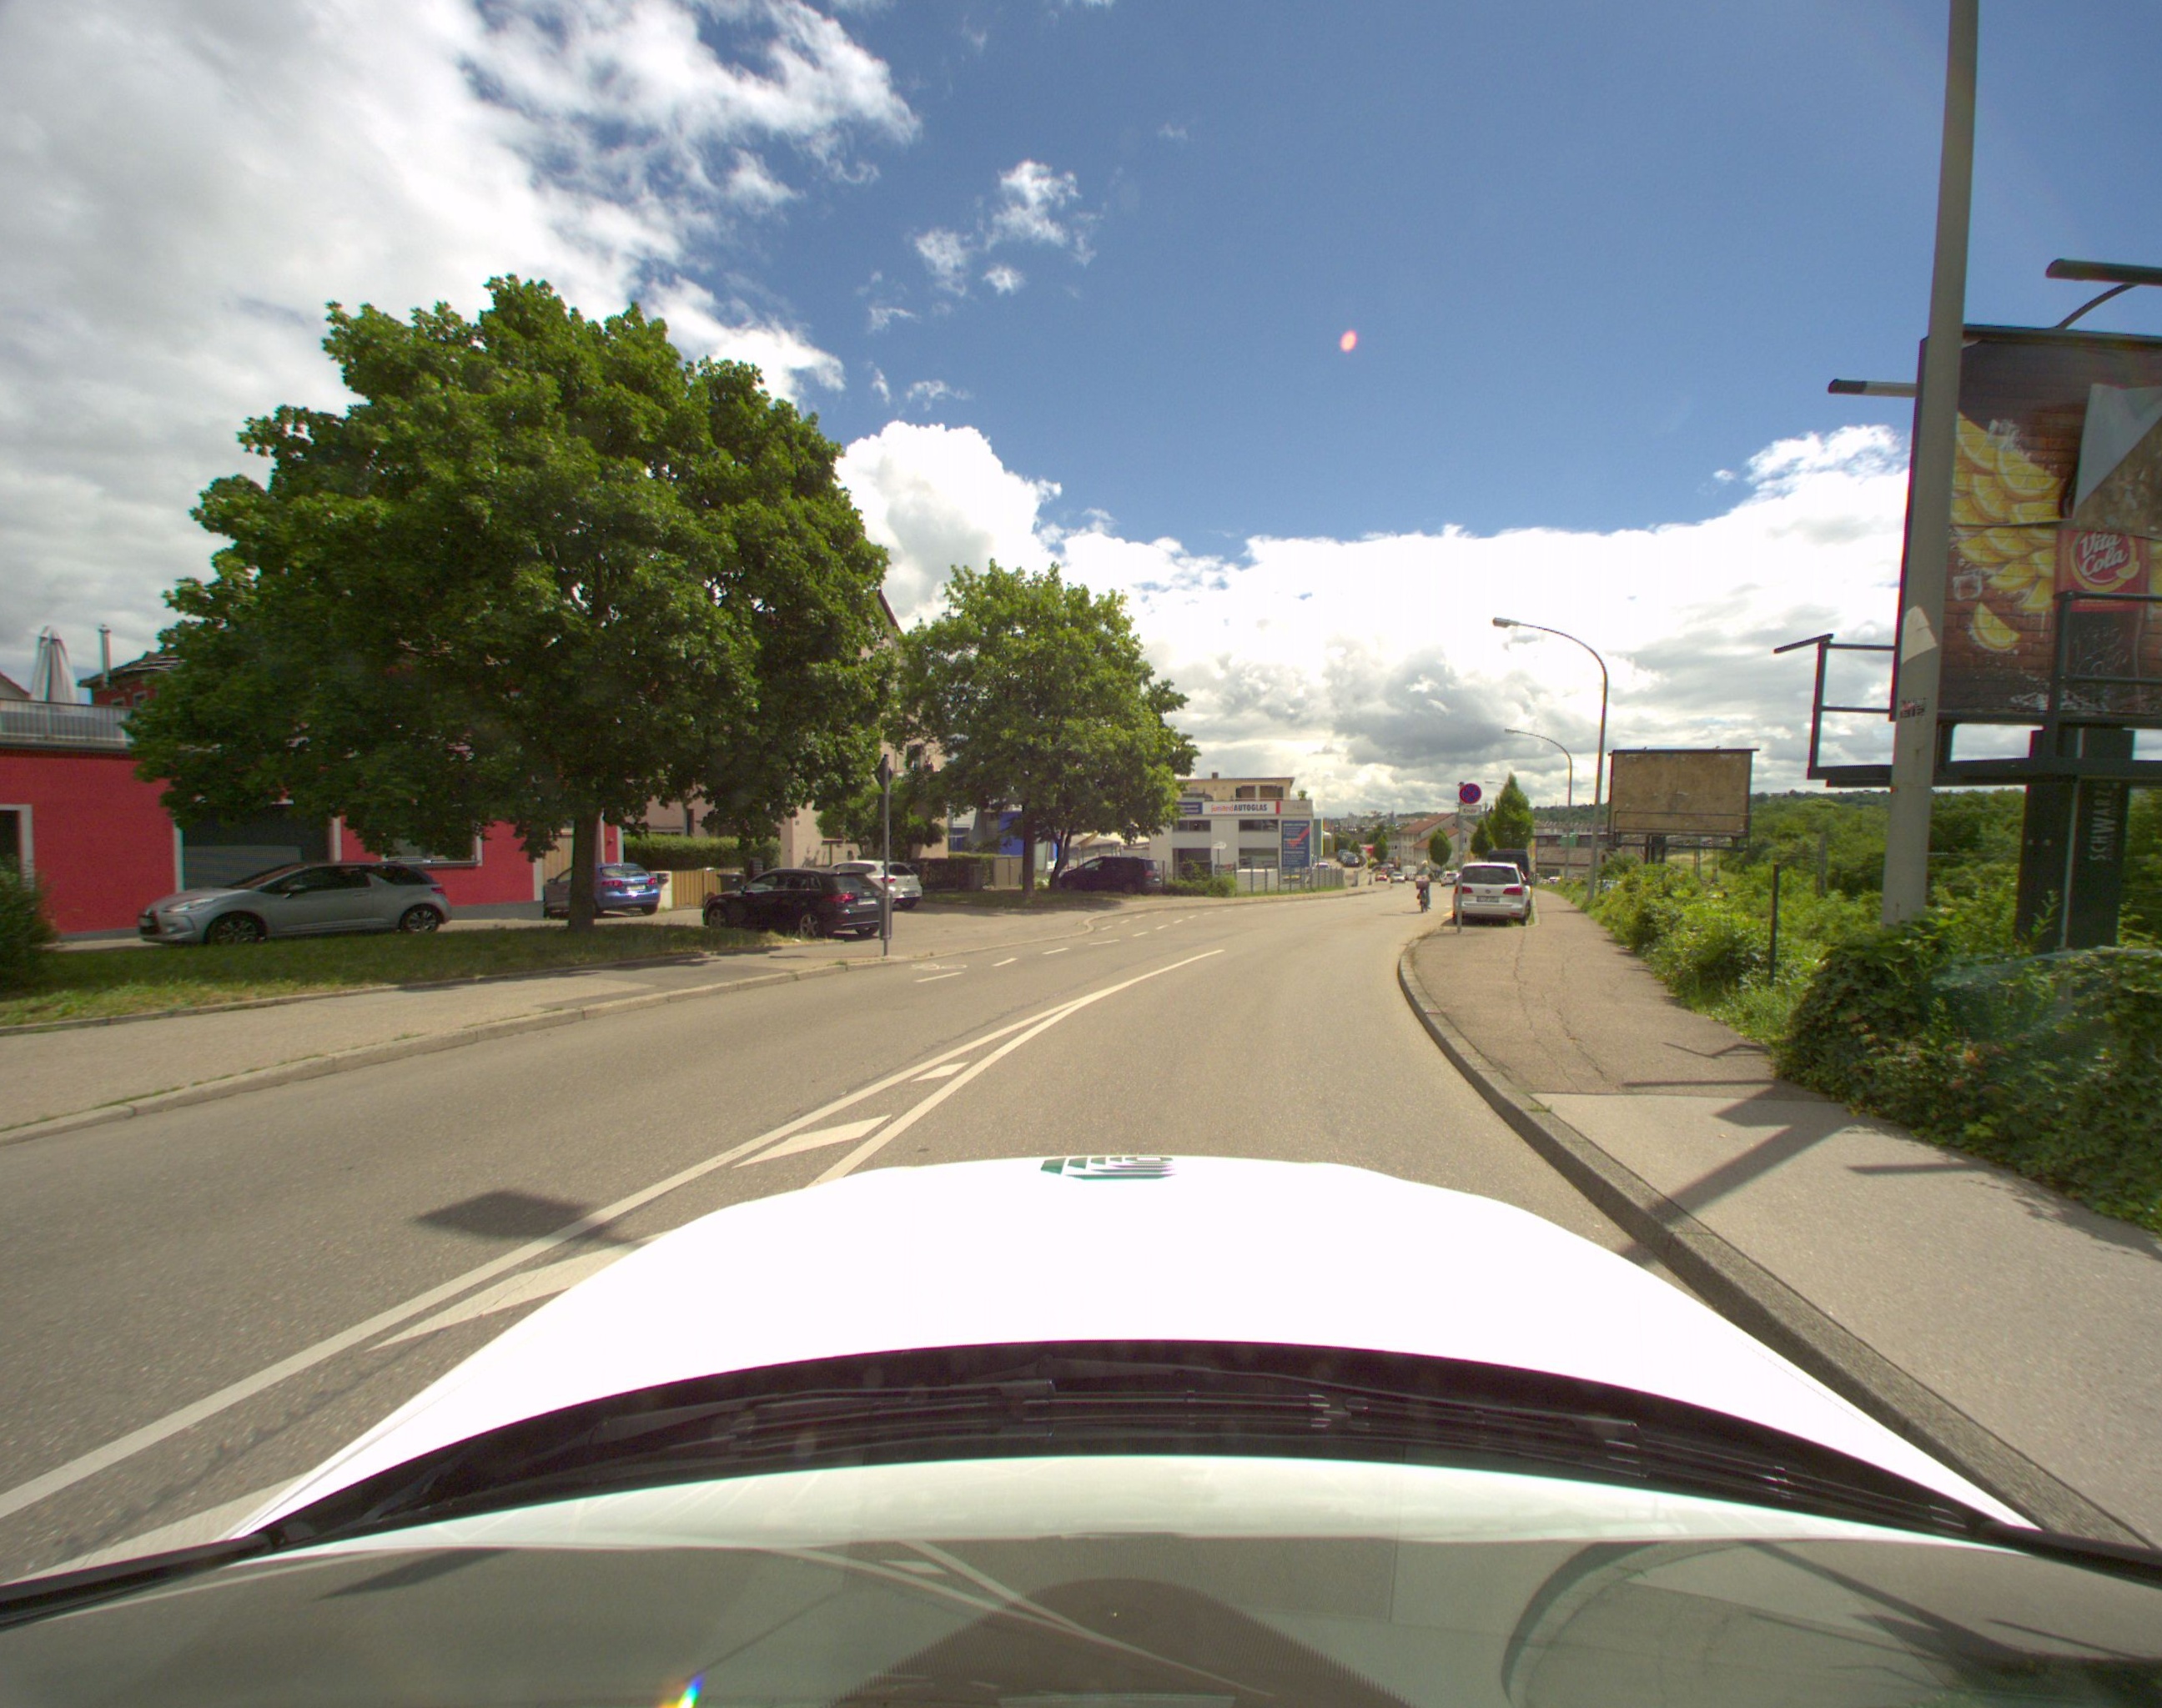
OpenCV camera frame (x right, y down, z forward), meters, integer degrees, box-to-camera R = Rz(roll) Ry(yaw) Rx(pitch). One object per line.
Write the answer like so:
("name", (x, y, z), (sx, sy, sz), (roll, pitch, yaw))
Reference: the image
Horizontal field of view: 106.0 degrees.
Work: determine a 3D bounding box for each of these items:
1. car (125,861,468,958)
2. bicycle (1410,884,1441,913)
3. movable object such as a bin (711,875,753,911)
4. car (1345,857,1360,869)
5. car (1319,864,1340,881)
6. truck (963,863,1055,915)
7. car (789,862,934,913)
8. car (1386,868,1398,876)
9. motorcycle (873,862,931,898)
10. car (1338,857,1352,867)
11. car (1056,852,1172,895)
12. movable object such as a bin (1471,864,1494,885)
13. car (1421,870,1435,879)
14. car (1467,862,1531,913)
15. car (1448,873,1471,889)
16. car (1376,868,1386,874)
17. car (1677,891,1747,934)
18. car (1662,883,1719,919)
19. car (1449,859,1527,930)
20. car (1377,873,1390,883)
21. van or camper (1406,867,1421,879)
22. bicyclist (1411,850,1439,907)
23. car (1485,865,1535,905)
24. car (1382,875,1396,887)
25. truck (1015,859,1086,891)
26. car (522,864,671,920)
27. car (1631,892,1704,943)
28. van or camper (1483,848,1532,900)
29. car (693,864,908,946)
("car", (-13.759, 0.857, 14.597), (1.625, 1.425, 4.103), (1, 0, 29))
("bicycle", (11.338, 1.450, 26.784), (0.681, 0.878, 2.114), (-2, -2, 29))
("movable object such as a bin", (-10.729, 1.187, 25.024), (0.748, 1.061, 0.886), (1, 0, 33))
("car", (34.162, 1.156, 102.559), (1.657, 1.324, 3.734), (-1, -2, 18))
("car", (24.918, 1.876, 81.791), (1.833, 1.651, 4.016), (-2, -2, 15))
("truck", (-4.158, 1.995, 48.228), (2.434, 2.874, 5.919), (-1, -1, 31))
("car", (-6.542, 0.951, 24.265), (3.883, 1.404, 1.887), (0, -1, 26))
("car", (66.348, 3.849, 173.789), (1.978, 1.464, 4.017), (-2, -2, 17))
("motorcycle", (-6.898, 0.984, 31.554), (0.909, 1.315, 2.249), (1, 0, 28))
("car", (38.923, 1.203, 120.129), (1.657, 1.324, 3.733), (-2, -2, 15))
("car", (1.441, 0.843, 36.120), (4.654, 1.716, 2.012), (1, -2, 29))
("movable object such as a bin", (46.816, 2.369, 94.900), (2.116, 2.303, 2.571), (-2, -2, 21))
("car", (58.117, 3.488, 136.408), (1.976, 1.464, 4.021), (-2, -2, 21))
("car", (13.813, 1.035, 26.794), (1.689, 1.487, 4.600), (1, 0, 29))
("car", (38.572, 2.742, 83.046), (1.976, 1.618, 4.022), (-2, -2, 23))
("car", (72.198, 4.027, 196.263), (1.978, 1.420, 4.016), (-2, -2, 16))
("car", (27.207, 2.464, 35.254), (1.689, 1.510, 4.557), (1, 0, 29))
("car", (29.433, 2.225, 39.389), (1.689, 1.510, 3.718), (1, 0, 29))
("car", (11.081, 0.998, 22.036), (1.689, 1.678, 4.334), (1, 0, 29))
("car", (49.780, 3.964, 134.036), (1.695, 1.574, 4.017), (-2, -2, 17))
("van or camper", (59.667, 3.317, 146.067), (1.979, 2.013, 4.016), (2, 0, 16))
("bicyclist", (11.323, 0.801, 26.810), (0.678, 1.826, 1.087), (-2, -2, 29))
("car", (17.308, 1.193, 32.886), (1.689, 1.479, 3.981), (1, 0, 28))
("car", (43.440, 3.823, 114.901), (1.689, 1.562, 4.346), (-1, -2, 17))
("truck", (-2.690, 1.870, 72.138), (5.737, 2.706, 2.186), (-2, -2, 16))
("car", (-13.210, 0.987, 22.199), (3.765, 1.377, 1.854), (-1, 0, 29))
("car", (20.995, 2.231, 29.266), (1.689, 1.510, 3.718), (1, 0, 29))
("van or camper", (22.665, 1.035, 43.152), (2.104, 2.585, 5.953), (-1, -1, 29))
("car", (-5.863, 0.970, 16.978), (4.091, 1.393, 2.012), (1, 0, 29))
